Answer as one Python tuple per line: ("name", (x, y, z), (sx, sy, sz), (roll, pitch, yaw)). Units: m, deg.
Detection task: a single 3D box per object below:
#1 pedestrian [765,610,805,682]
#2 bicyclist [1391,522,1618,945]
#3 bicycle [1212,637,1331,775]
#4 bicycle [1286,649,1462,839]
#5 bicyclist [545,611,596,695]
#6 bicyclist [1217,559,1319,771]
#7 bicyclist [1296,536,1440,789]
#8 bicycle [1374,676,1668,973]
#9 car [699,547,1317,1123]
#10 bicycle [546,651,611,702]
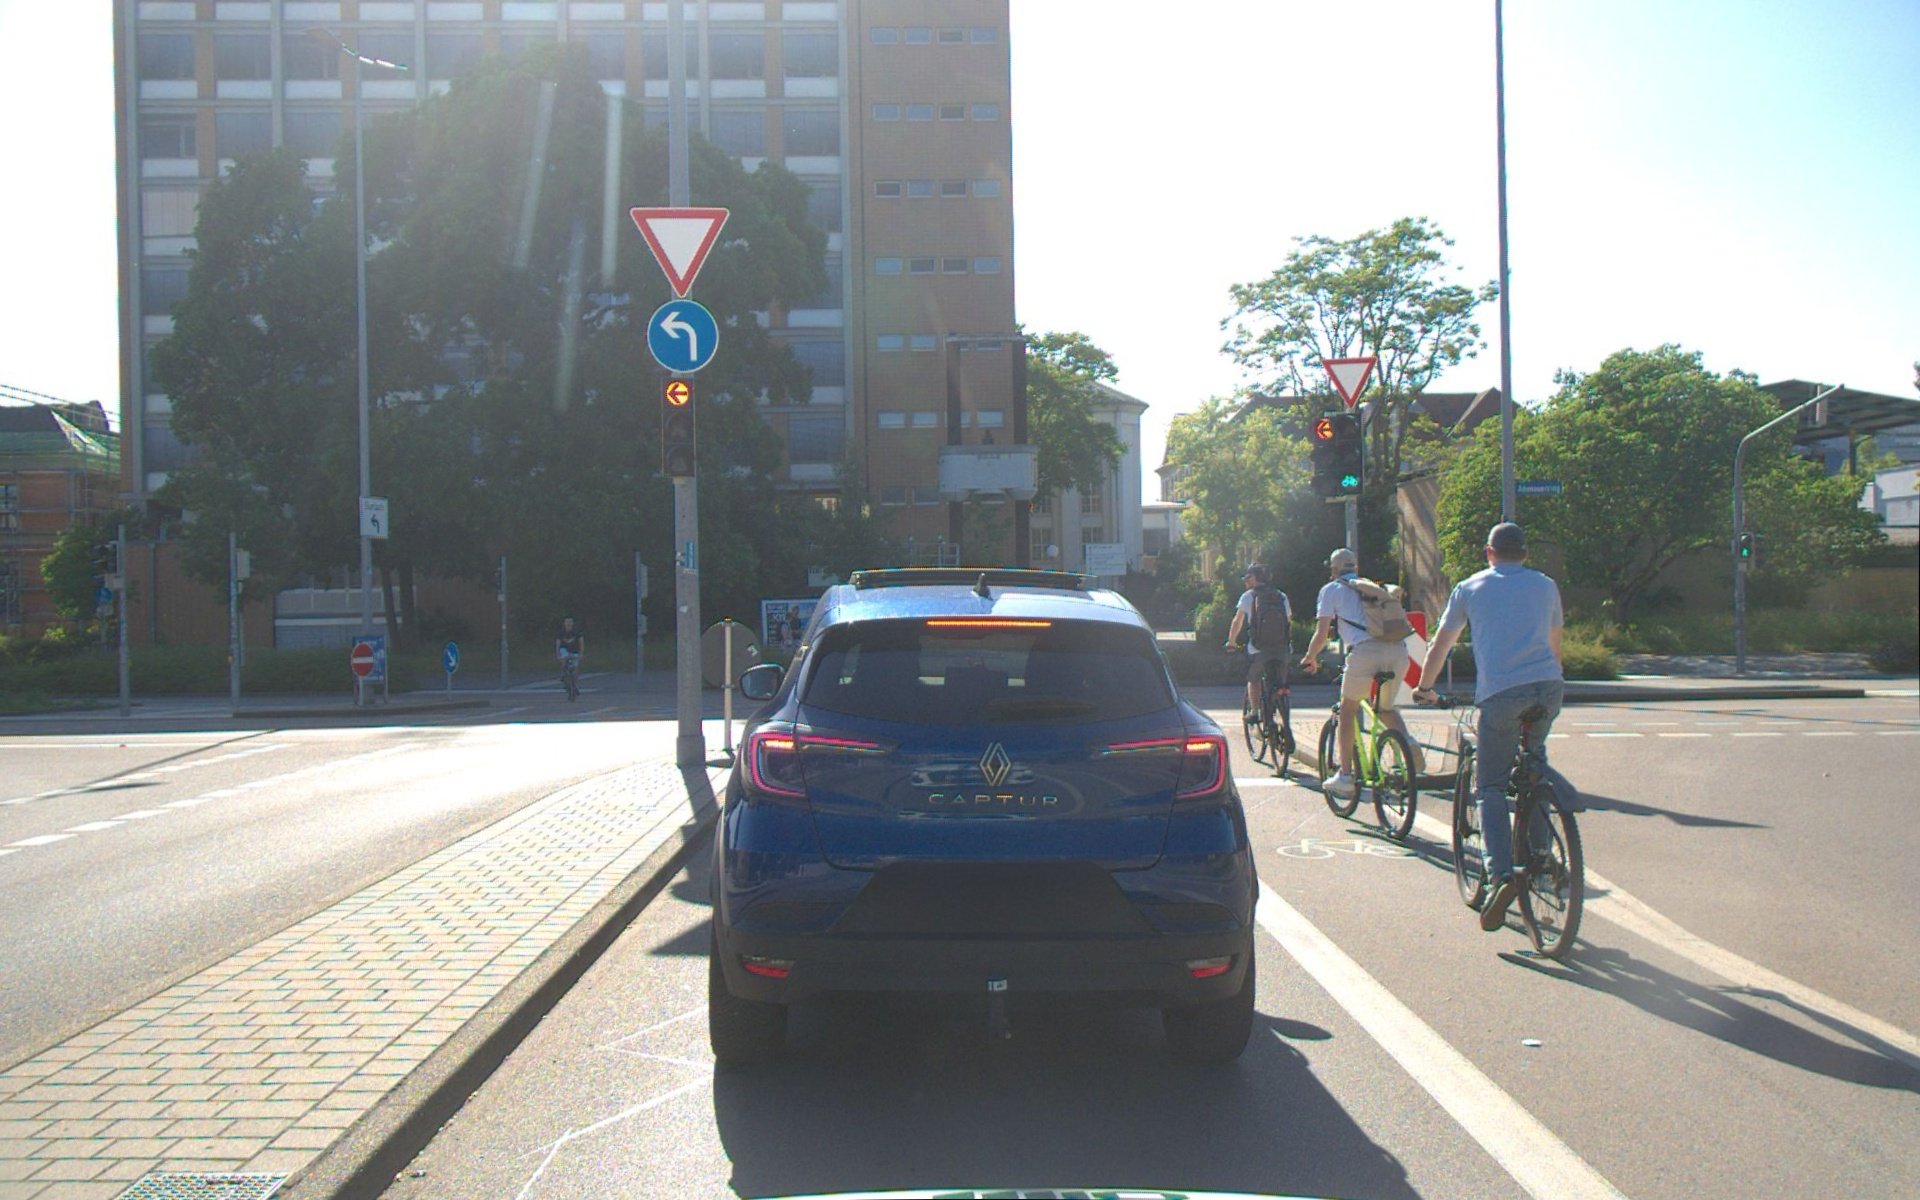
("pedestrian", (-4.754, 1.243, 44.876), (0.796, 1.895, 0.910), (-1, 0, 13))
("bicyclist", (2.496, 0.575, 7.702), (0.669, 1.822, 1.142), (0, 0, -1))
("bicycle", (2.744, 0.903, 14.740), (0.675, 1.108, 1.922), (0, 0, -1))
("bicycle", (2.730, 0.911, 11.100), (0.675, 1.108, 1.922), (0, 0, -1))
("bicyclist", (-8.286, 1.111, 35.223), (0.739, 1.746, 0.999), (-1, 0, 5))
("bicyclist", (2.738, 0.560, 14.796), (0.685, 1.822, 1.142), (0, 0, -1))
("bicyclist", (2.730, 0.400, 11.166), (0.664, 1.622, 1.142), (0, 0, -1))
("bicycle", (2.499, 0.948, 7.616), (0.675, 1.108, 1.922), (0, 0, -1))
("car", (0.056, 0.663, 6.640), (1.753, 1.613, 3.912), (0, 0, -3))
("bicycle", (-8.227, 1.640, 35.760), (0.739, 1.002, 2.095), (-1, 0, 5))
